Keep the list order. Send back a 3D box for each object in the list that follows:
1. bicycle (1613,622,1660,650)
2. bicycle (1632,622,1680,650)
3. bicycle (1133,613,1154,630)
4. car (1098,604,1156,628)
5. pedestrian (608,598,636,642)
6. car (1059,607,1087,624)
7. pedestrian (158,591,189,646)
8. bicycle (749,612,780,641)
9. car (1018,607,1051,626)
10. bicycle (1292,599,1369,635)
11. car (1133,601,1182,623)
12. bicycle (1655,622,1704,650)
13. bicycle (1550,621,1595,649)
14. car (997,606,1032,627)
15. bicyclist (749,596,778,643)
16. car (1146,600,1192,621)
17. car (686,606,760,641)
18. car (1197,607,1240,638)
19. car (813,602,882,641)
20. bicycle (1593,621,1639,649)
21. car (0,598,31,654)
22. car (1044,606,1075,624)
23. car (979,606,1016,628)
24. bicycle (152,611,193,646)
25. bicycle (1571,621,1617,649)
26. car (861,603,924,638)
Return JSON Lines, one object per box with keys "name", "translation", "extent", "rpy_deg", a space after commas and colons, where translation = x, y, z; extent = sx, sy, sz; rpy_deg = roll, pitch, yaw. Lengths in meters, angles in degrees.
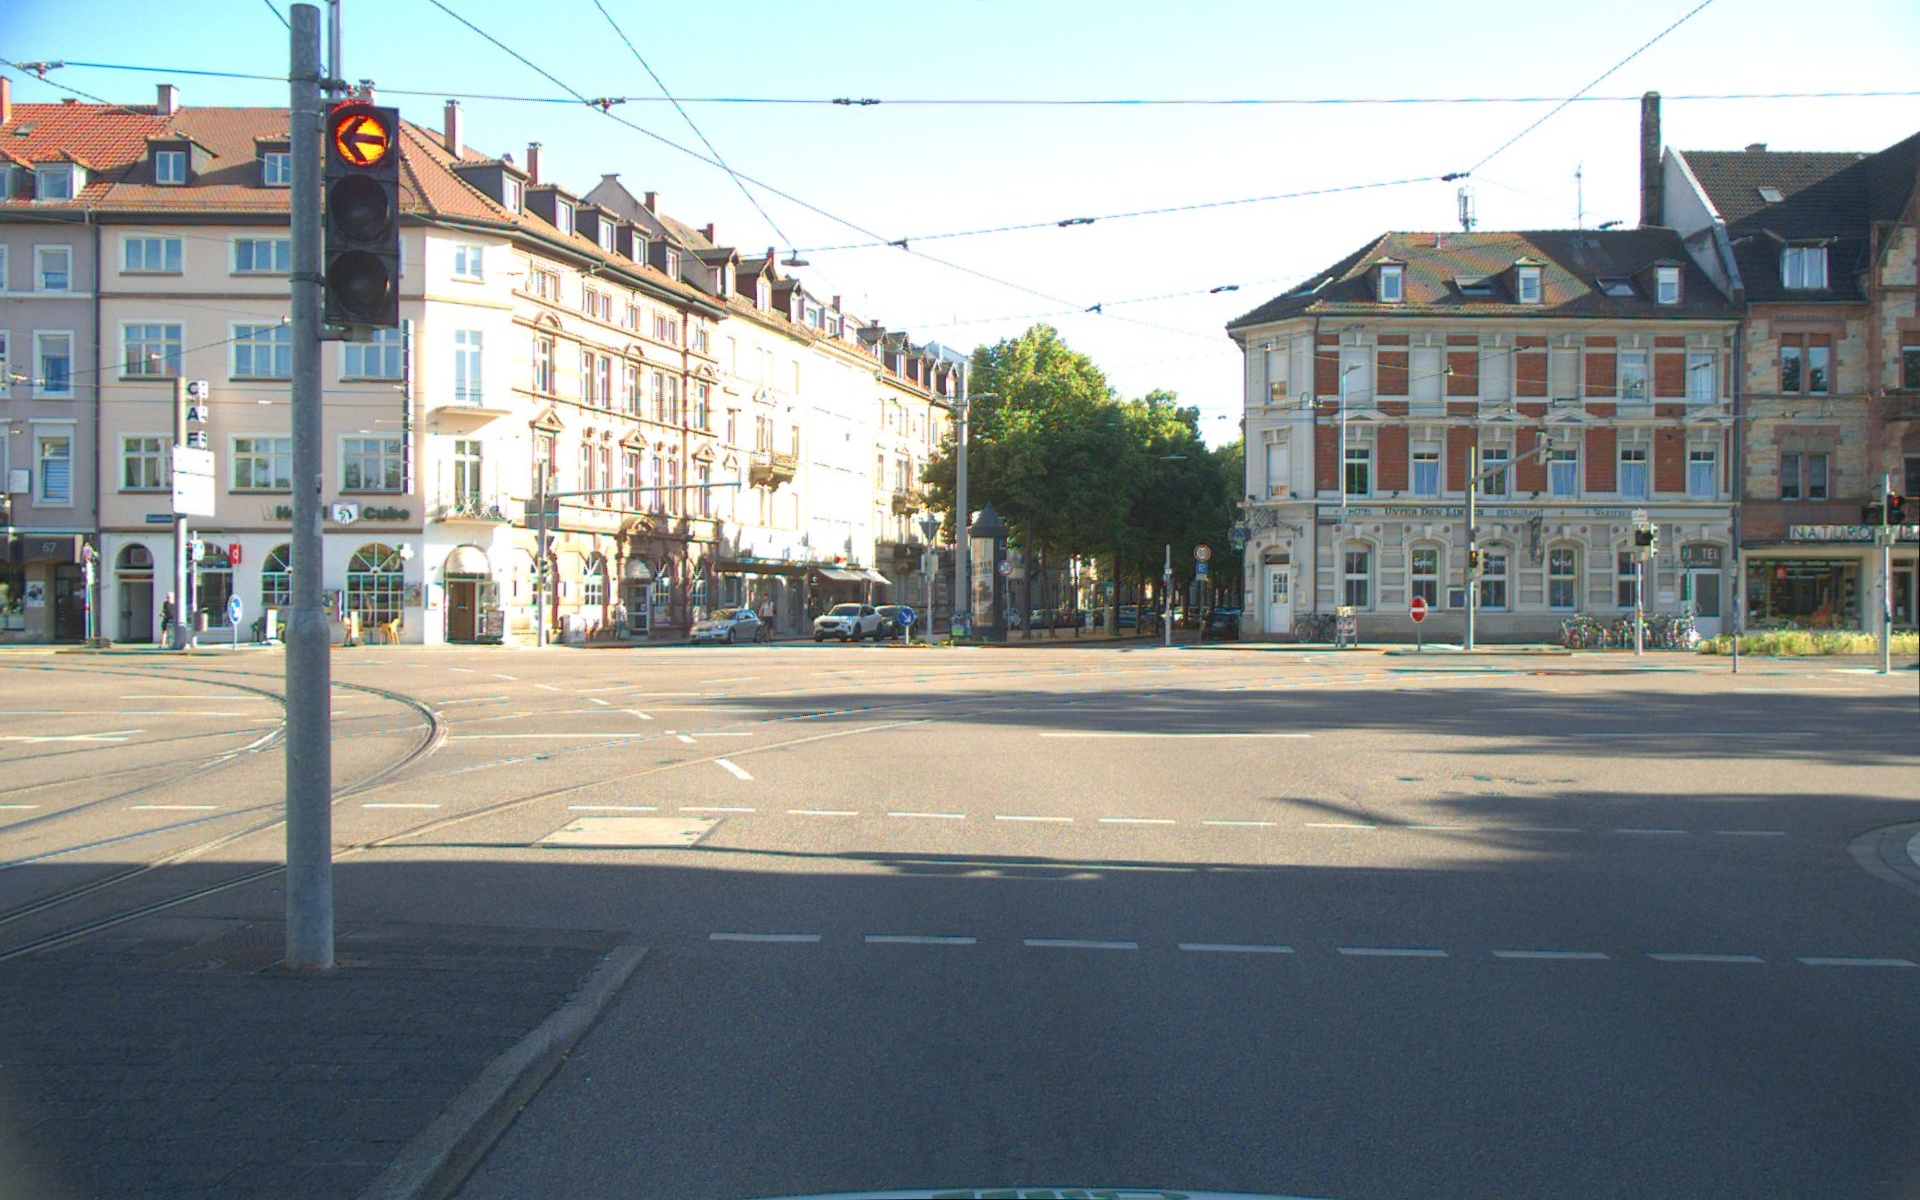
{"name": "bicycle", "translation": [21.861, 1.143, 53.511], "extent": [0.645, 0.855, 2.160], "rpy_deg": [1, 0, 0]}
{"name": "bicycle", "translation": [22.489, 1.153, 53.491], "extent": [0.645, 0.855, 2.160], "rpy_deg": [1, 0, 0]}
{"name": "bicycle", "translation": [11.045, 1.292, 99.635], "extent": [0.625, 1.039, 1.840], "rpy_deg": [1, 0, -14]}
{"name": "car", "translation": [11.706, 1.112, 115.842], "extent": [3.819, 1.677, 1.684], "rpy_deg": [0, 0, 16]}
{"name": "pedestrian", "translation": [-13.356, 0.777, 65.299], "extent": [0.759, 1.699, 0.831], "rpy_deg": [1, -1, 15]}
{"name": "car", "translation": [9.306, 1.246, 135.903], "extent": [1.642, 1.378, 3.593], "rpy_deg": [0, 0, 16]}
{"name": "pedestrian", "translation": [-24.663, 0.587, 51.872], "extent": [0.570, 1.699, 0.752], "rpy_deg": [1, -1, -1]}
{"name": "bicycle", "translation": [-7.684, 1.043, 65.133], "extent": [0.687, 1.137, 1.636], "rpy_deg": [1, 0, 13]}
{"name": "car", "translation": [5.524, 1.197, 122.509], "extent": [1.642, 1.378, 3.593], "rpy_deg": [0, 0, 16]}
{"name": "bicycle", "translation": [12.864, 0.587, 57.466], "extent": [2.504, 1.194, 0.818], "rpy_deg": [1, -1, -4]}
{"name": "car", "translation": [15.309, 0.955, 128.255], "extent": [3.503, 1.677, 1.684], "rpy_deg": [0, 0, 16]}
{"name": "bicycle", "translation": [23.277, 1.167, 53.537], "extent": [0.645, 0.855, 2.160], "rpy_deg": [1, 0, 0]}
{"name": "bicycle", "translation": [19.759, 1.106, 53.377], "extent": [0.645, 0.855, 2.160], "rpy_deg": [1, 0, 0]}
{"name": "car", "translation": [3.813, 1.154, 115.522], "extent": [1.642, 1.378, 3.593], "rpy_deg": [0, 0, 16]}
{"name": "bicyclist", "translation": [-7.718, 0.762, 65.010], "extent": [0.761, 1.834, 1.056], "rpy_deg": [1, -1, 13]}
{"name": "car", "translation": [16.931, 0.881, 133.755], "extent": [3.503, 1.677, 1.684], "rpy_deg": [0, 0, 16]}
{"name": "car", "translation": [-9.544, 0.929, 66.751], "extent": [1.642, 1.378, 3.593], "rpy_deg": [0, 0, 16]}
{"name": "car", "translation": [12.953, 1.103, 82.757], "extent": [1.642, 1.509, 3.950], "rpy_deg": [0, 0, 16]}
{"name": "car", "translation": [-4.539, 0.839, 67.233], "extent": [1.642, 1.509, 3.774], "rpy_deg": [0, 0, 16]}
{"name": "bicycle", "translation": [21.190, 1.131, 53.478], "extent": [0.645, 0.855, 2.160], "rpy_deg": [1, 0, 0]}
{"name": "car", "translation": [-32.154, 0.785, 52.260], "extent": [4.276, 1.741, 2.306], "rpy_deg": [1, 0, 1]}
{"name": "car", "translation": [7.882, 1.209, 130.852], "extent": [1.642, 1.378, 3.593], "rpy_deg": [0, 0, 16]}
{"name": "car", "translation": [2.556, 1.134, 111.346], "extent": [1.642, 1.378, 3.593], "rpy_deg": [0, 0, 16]}
{"name": "bicycle", "translation": [-24.667, 0.884, 51.831], "extent": [0.561, 1.096, 1.497], "rpy_deg": [1, 0, -1]}
{"name": "bicycle", "translation": [20.478, 1.119, 53.464], "extent": [0.645, 0.855, 2.160], "rpy_deg": [1, 0, 0]}
{"name": "car", "translation": [-2.952, 0.883, 73.558], "extent": [1.642, 1.509, 3.950], "rpy_deg": [0, 0, 16]}
